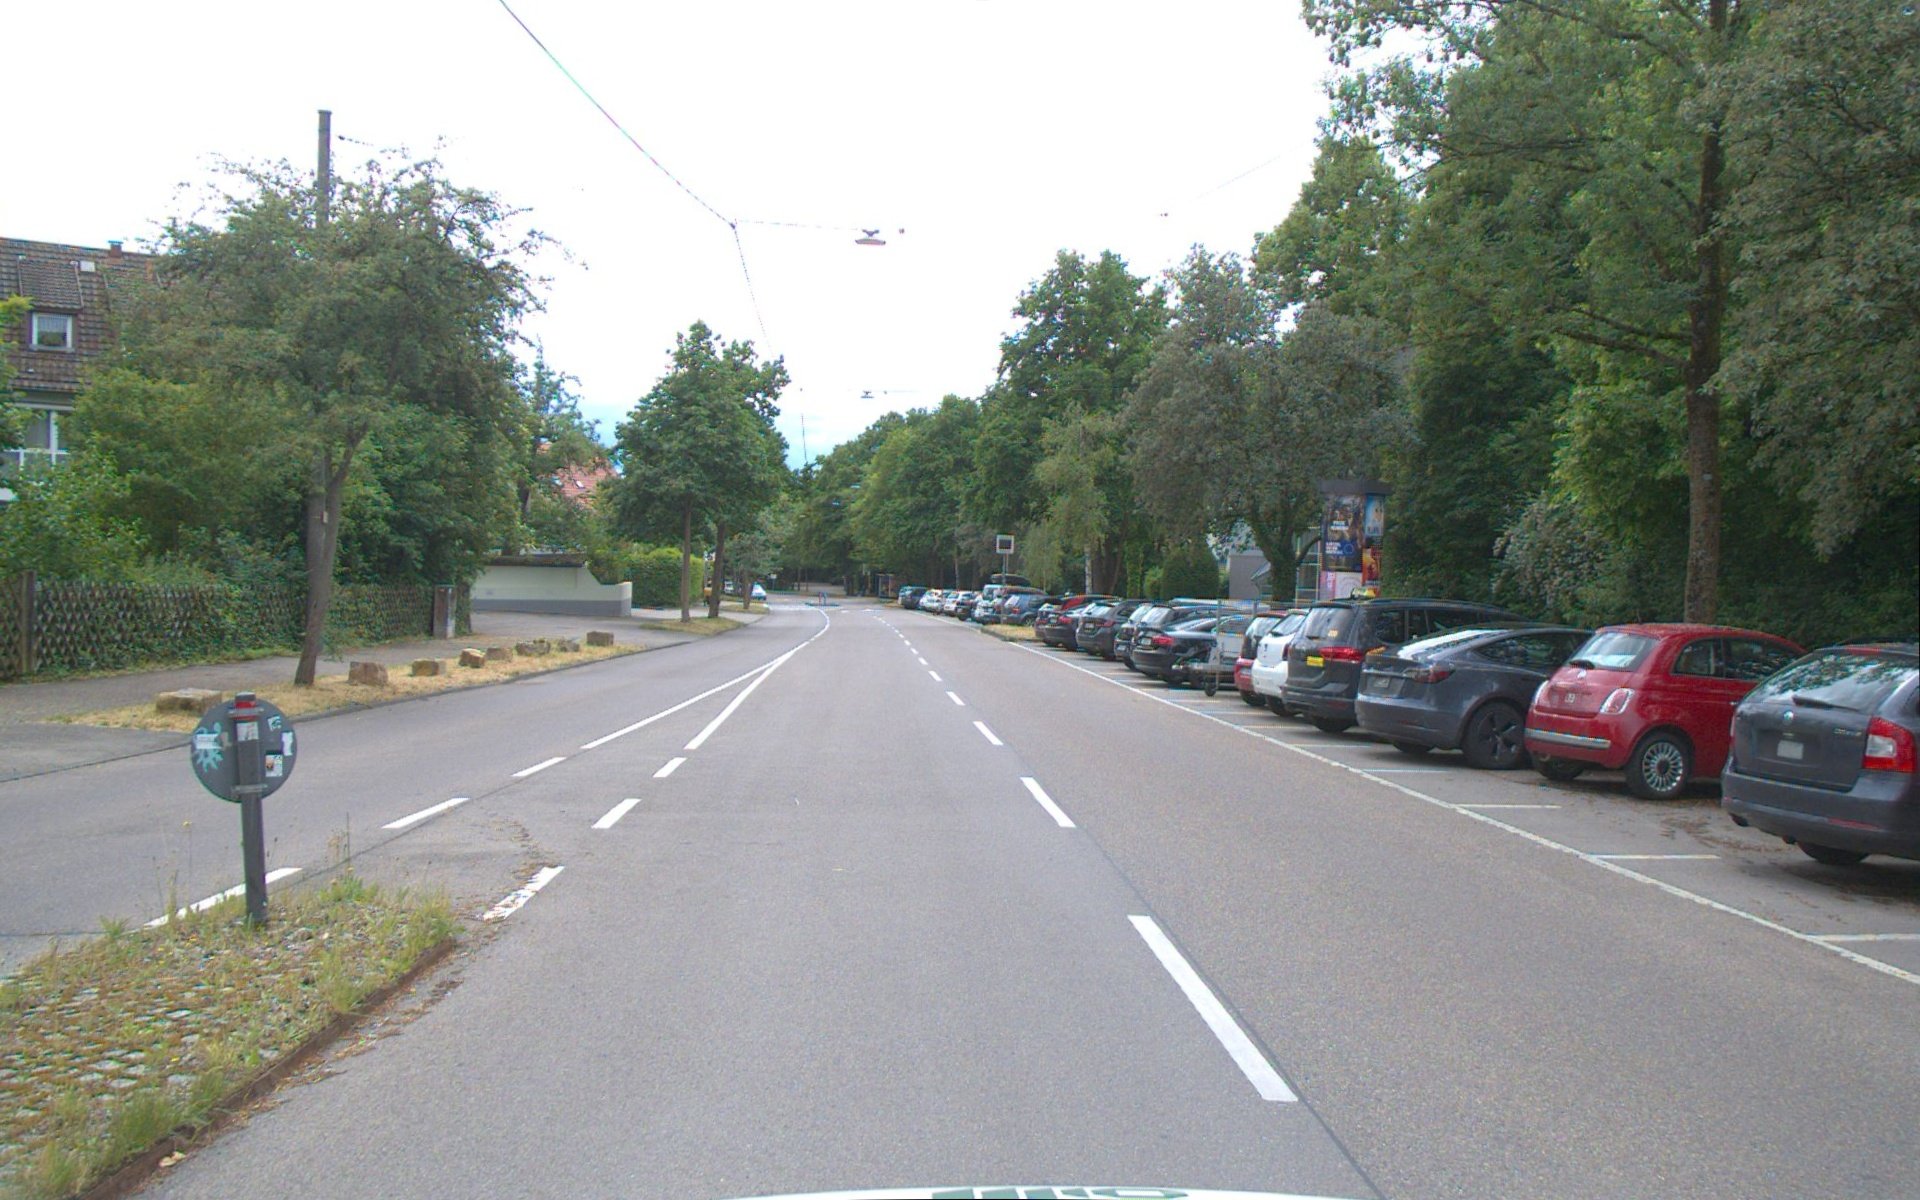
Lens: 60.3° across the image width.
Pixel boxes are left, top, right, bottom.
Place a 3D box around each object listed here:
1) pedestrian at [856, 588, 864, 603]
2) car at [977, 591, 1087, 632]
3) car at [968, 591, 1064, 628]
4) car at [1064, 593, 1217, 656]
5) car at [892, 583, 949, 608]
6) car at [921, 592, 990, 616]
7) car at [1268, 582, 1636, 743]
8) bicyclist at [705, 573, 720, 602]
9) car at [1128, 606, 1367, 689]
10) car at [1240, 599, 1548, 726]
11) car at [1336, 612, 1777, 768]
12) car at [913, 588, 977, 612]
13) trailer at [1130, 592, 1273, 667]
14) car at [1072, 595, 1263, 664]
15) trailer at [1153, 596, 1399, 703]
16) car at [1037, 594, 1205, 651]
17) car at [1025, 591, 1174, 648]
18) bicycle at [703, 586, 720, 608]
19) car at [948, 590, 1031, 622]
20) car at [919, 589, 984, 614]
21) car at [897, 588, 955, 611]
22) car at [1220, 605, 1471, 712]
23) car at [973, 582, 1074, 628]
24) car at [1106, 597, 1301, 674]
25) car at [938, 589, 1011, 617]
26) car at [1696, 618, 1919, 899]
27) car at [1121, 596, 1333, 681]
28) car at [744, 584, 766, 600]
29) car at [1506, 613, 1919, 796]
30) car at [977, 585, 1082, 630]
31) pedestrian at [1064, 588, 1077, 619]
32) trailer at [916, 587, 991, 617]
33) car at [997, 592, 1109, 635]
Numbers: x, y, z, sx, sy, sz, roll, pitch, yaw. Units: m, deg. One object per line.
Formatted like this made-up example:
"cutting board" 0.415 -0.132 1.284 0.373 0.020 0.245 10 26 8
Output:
"pedestrian" -10.627 -0.458 176.350 0.725 1.597 0.652 1 0 7
"car" 2.865 0.468 65.761 3.970 1.430 1.746 3 0 -22
"car" 2.519 0.418 75.050 3.906 1.474 1.908 3 0 -19
"car" 4.684 0.638 42.995 3.556 1.470 1.625 2 0 -19
"car" -2.898 -0.340 122.206 3.832 1.697 1.731 2 0 -23
"car" -0.280 0.227 101.201 3.840 1.332 1.728 2 0 -28
"car" 5.904 0.743 19.979 3.916 1.755 1.675 2 0 -13
"bicyclist" -15.156 -0.790 101.154 0.829 1.727 0.712 2 1 -7
"car" 5.203 0.853 30.030 3.966 1.350 1.554 2 0 -13
"car" 5.907 0.840 22.703 3.748 1.556 1.603 2 0 -8
"car" 6.211 0.929 17.325 4.089 1.431 1.692 2 0 -14
"car" -0.973 0.014 109.529 3.832 1.454 1.731 2 0 -23
"trailer" 5.517 0.664 37.870 2.938 1.569 1.297 2 1 -17
"car" 5.017 0.710 40.057 4.276 1.470 1.626 2 1 -18
"trailer" 5.226 0.805 27.475 3.627 1.561 1.640 3 0 -15
"car" 4.426 0.618 45.553 4.244 1.364 1.725 2 0 -17
"car" 4.089 0.576 48.379 4.020 1.542 1.720 2 0 -26
"bicycle" -15.183 -0.195 101.153 0.828 1.288 2.649 2 1 -6
"car" 1.517 0.311 85.293 3.839 1.474 1.828 2 0 -27
"car" -0.534 0.076 106.979 3.832 1.454 1.731 2 0 -23
"car" -2.444 -0.033 119.445 3.832 1.454 1.731 2 0 -23
"car" 5.860 0.881 25.231 3.368 1.470 1.553 2 0 -16
"car" 2.755 0.229 71.756 4.043 1.785 1.769 3 0 -31
"car" 5.200 0.758 35.478 3.777 1.480 1.627 2 0 -16
"car" 0.839 0.190 96.405 3.835 1.474 1.730 2 0 -25
"car" 6.950 0.954 10.292 4.145 1.489 1.630 2 0 -12
"car" 5.307 0.770 32.910 3.852 1.512 1.610 2 0 -19
"car" -19.885 -0.752 160.322 1.833 1.496 3.990 1 0 -10
"car" 6.940 0.934 15.179 3.269 1.489 1.629 2 0 -13
"car" 2.878 0.314 68.870 3.937 1.648 1.874 3 0 -20
"pedestrian" 6.168 0.195 92.291 0.636 1.700 0.744 1 0 2
"trailer" -0.369 0.124 98.503 4.098 1.600 1.700 3 0 -23
"car" 3.571 0.519 63.490 3.904 1.430 1.748 3 0 -19
